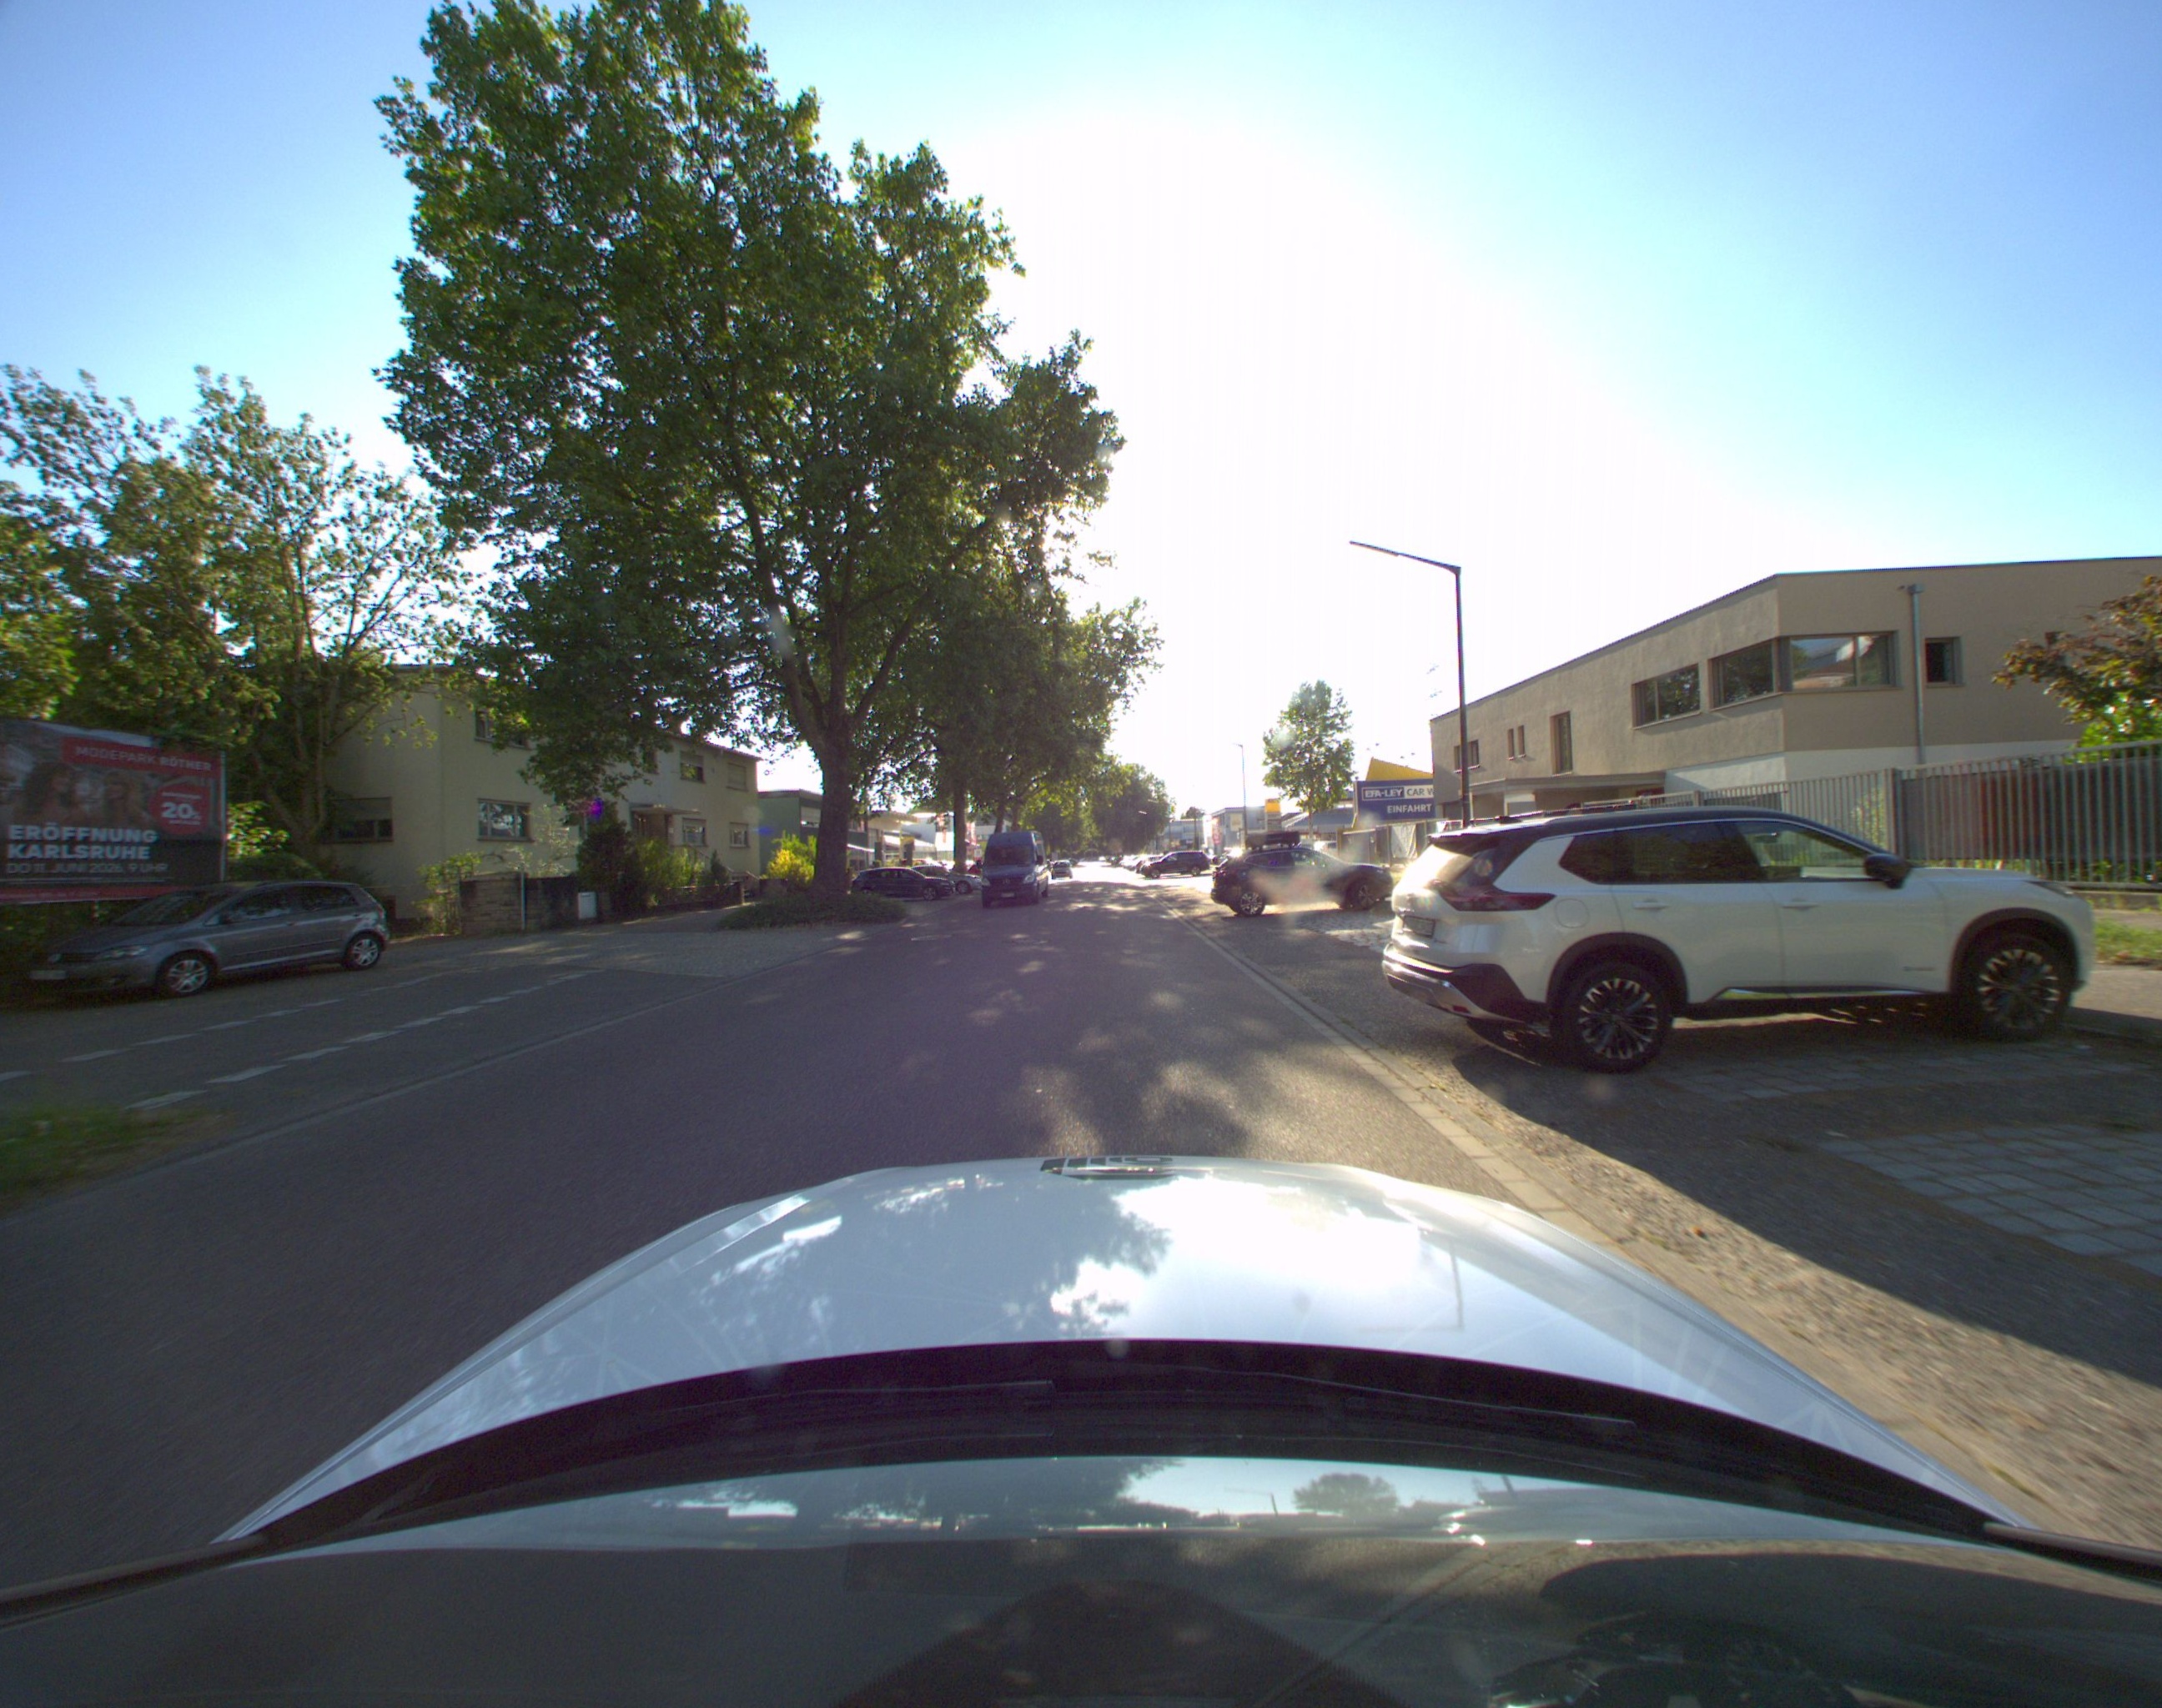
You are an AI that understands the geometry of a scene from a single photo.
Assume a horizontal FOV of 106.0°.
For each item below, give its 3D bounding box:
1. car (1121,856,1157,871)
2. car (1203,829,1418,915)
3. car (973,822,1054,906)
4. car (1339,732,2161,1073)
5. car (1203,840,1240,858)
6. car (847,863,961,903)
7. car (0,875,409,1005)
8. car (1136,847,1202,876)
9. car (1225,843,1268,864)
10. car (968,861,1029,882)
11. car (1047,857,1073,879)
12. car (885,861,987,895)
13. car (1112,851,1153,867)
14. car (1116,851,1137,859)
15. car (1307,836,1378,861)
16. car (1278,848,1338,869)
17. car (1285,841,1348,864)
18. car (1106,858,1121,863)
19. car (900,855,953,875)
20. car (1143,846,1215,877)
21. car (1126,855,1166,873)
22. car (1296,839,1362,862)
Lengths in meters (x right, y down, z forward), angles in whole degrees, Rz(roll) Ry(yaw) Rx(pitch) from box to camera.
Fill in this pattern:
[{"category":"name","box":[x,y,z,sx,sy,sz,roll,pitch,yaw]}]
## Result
[{"category":"car","box":[7.867,1.243,110.484,4.543,1.597,2.200,-6,0,-2]},{"category":"car","box":[5.527,0.426,20.043,4.611,1.526,1.999,-6,0,-1]},{"category":"car","box":[-2.372,0.286,30.585,2.120,2.659,7.004,-3,1,1]},{"category":"car","box":[4.656,0.303,6.232,4.611,1.711,1.999,-6,0,-1]},{"category":"car","box":[17.129,-0.616,99.671,4.129,1.771,2.001,-5,0,1]},{"category":"car","box":[-7.444,1.196,34.652,4.341,1.422,1.999,-3,0,-1]},{"category":"car","box":[-13.402,1.184,12.784,1.985,1.576,4.276,-2,0,3]},{"category":"car","box":[6.469,0.552,60.339,4.586,1.613,2.000,-6,-1,0]},{"category":"car","box":[16.836,-0.054,82.890,3.920,1.898,2.203,-2,3,0]},{"category":"car","box":[-6.093,1.264,60.543,4.281,1.446,2.000,-1,-1,0]},{"category":"car","box":[-1.693,1.101,66.320,1.832,1.571,3.803,-5,0,1]},{"category":"car","box":[-7.120,1.165,40.289,4.584,1.422,2.000,-3,1,0]},{"category":"car","box":[5.167,0.462,81.070,3.969,1.296,1.786,-4,0,3]},{"category":"car","box":[8.894,0.242,158.619,3.973,1.415,2.000,-3,0,1]},{"category":"car","box":[17.242,-0.334,53.821,3.978,1.497,1.998,-2,0,-3]},{"category":"car","box":[17.400,0.332,62.587,3.978,1.519,1.998,-2,0,-3]},{"category":"car","box":[17.240,-0.114,59.757,3.978,1.595,1.998,-2,0,-3]},{"category":"car","box":[9.347,1.866,234.275,3.973,1.415,1.827,-3,0,1]},{"category":"car","box":[-14.971,1.084,79.008,4.731,1.819,1.999,-2,0,-1]},{"category":"car","box":[6.509,0.486,54.714,4.582,1.579,2.002,-6,-1,3]},{"category":"car","box":[7.086,1.065,89.026,3.978,1.587,1.866,-4,0,-3]},{"category":"car","box":[17.360,-0.225,57.194,3.978,1.519,1.951,-2,0,-3]}]
